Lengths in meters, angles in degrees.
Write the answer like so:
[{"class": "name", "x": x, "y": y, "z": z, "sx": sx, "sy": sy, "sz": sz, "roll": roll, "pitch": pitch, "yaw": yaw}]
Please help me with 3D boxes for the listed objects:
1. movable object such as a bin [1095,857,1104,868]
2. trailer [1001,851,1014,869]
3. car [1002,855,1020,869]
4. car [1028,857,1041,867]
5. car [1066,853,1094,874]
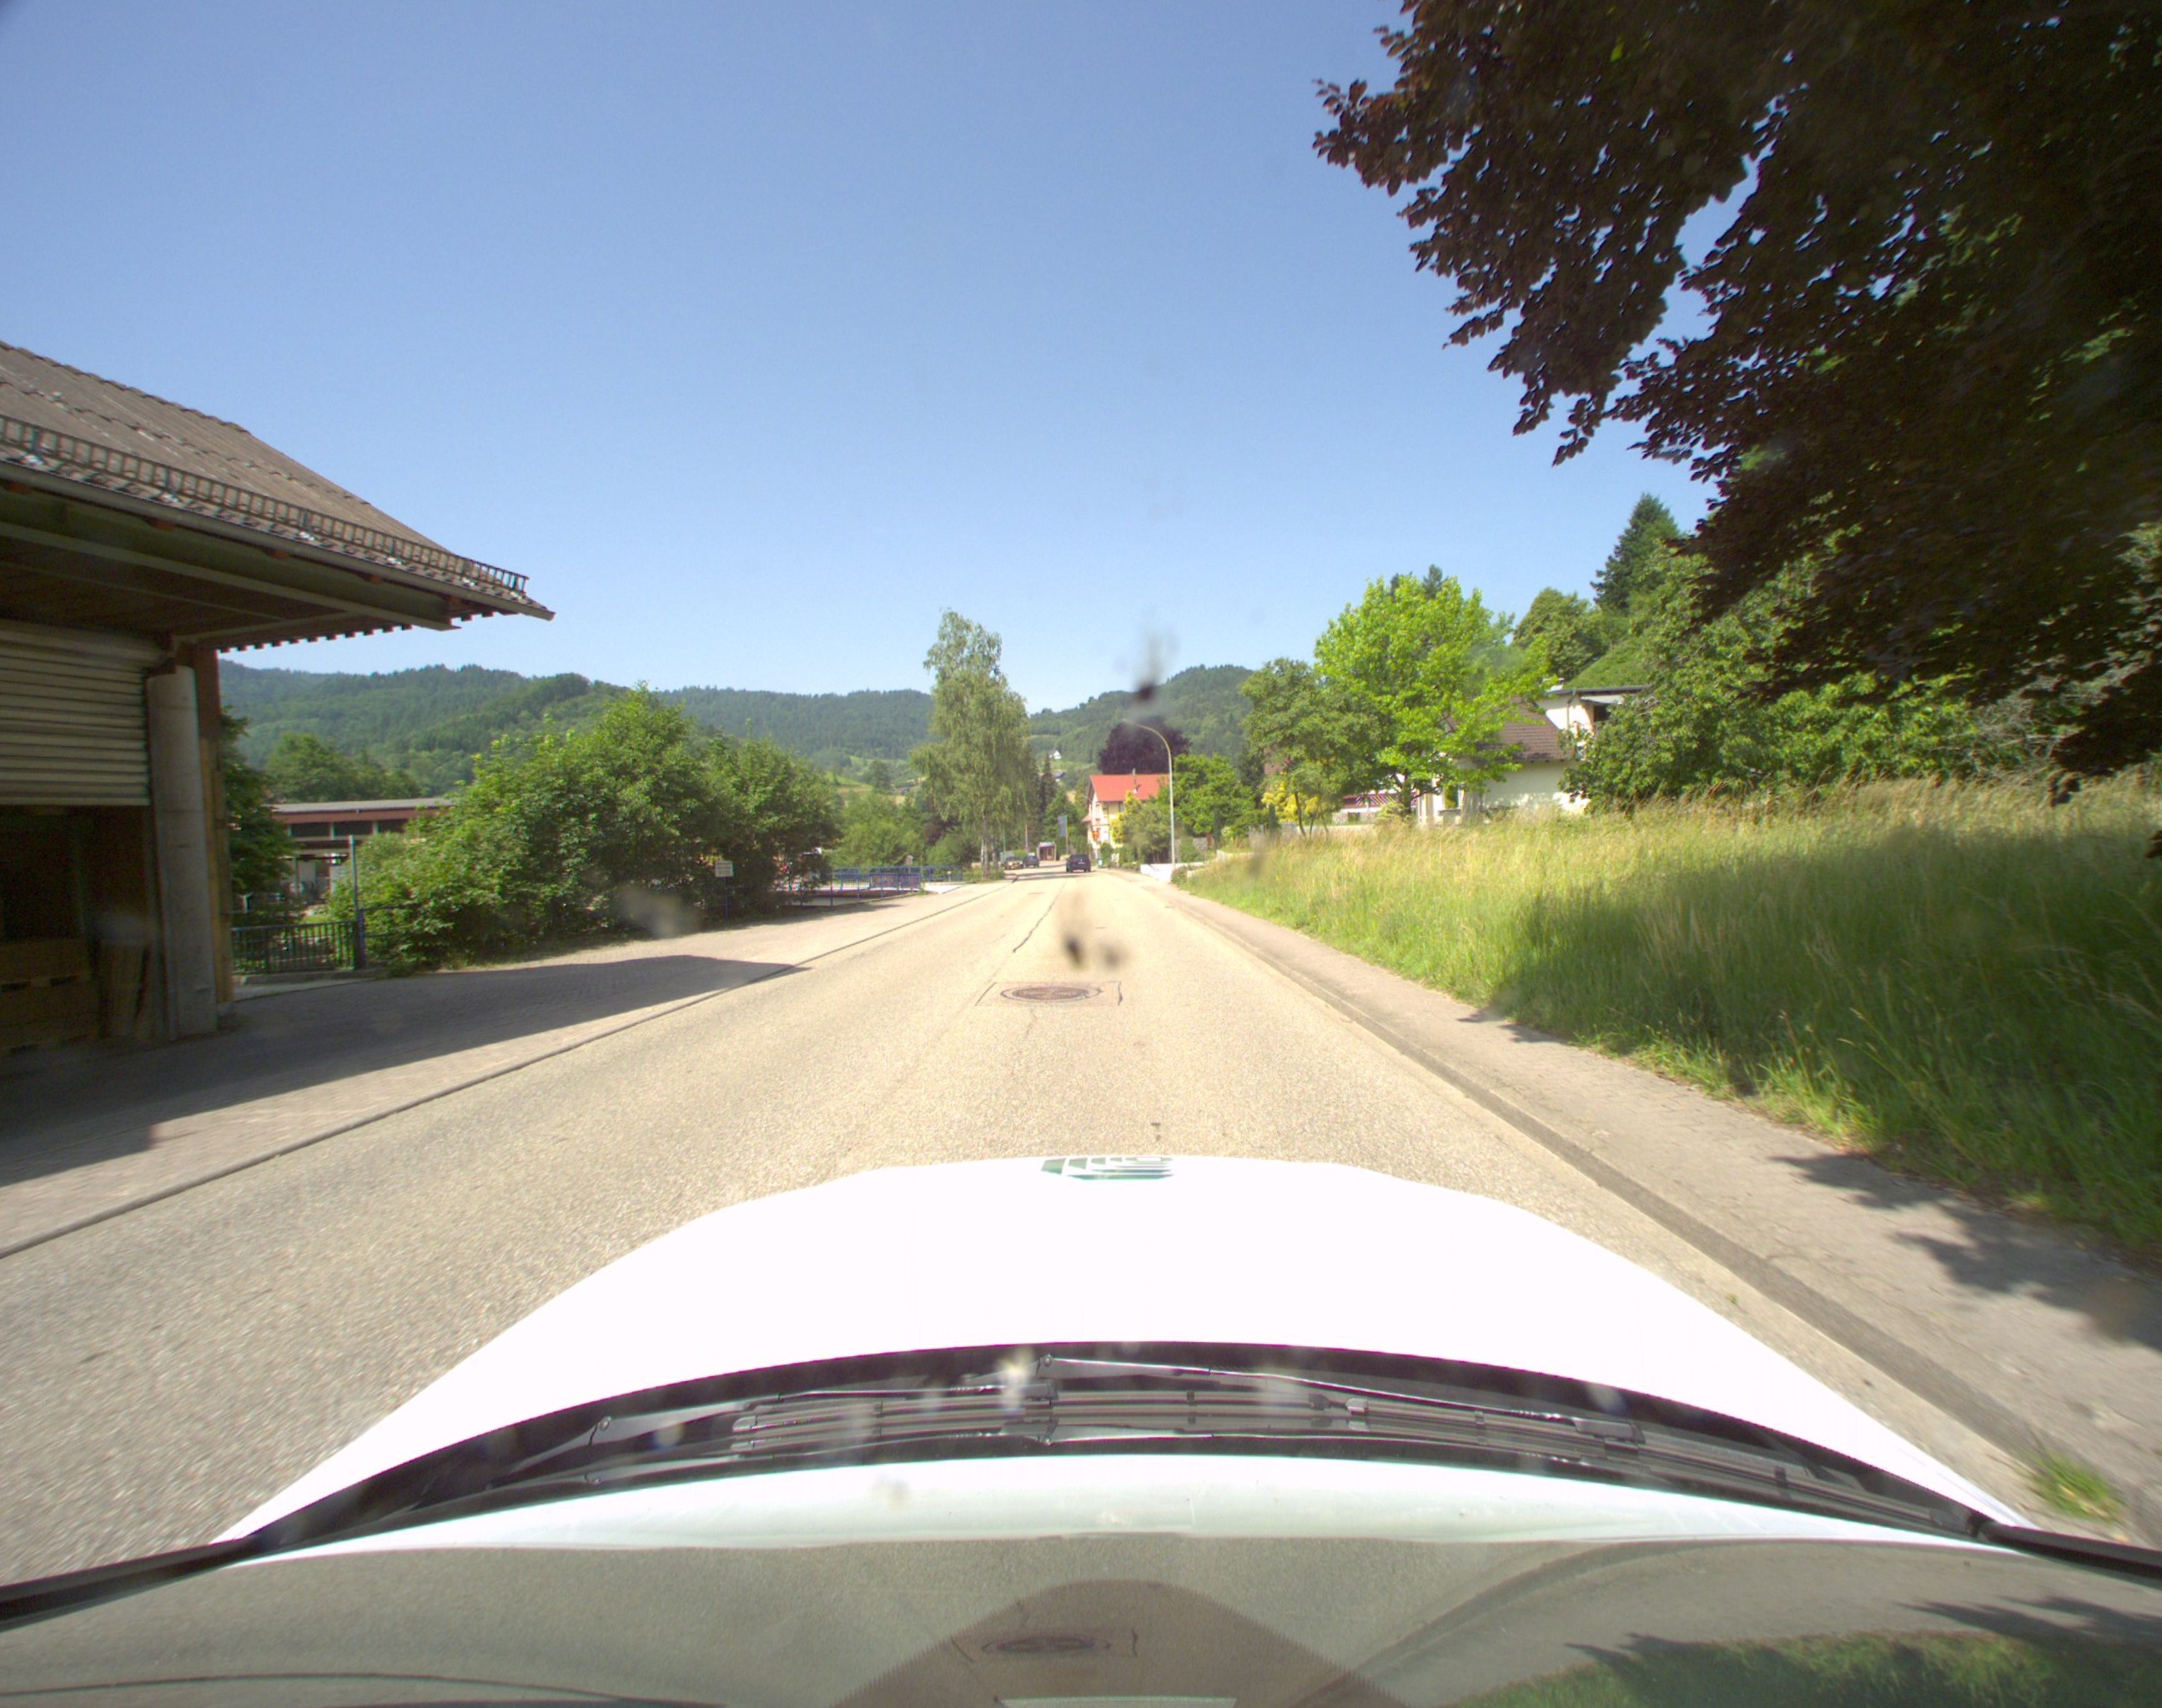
[{"class": "movable object such as a bin", "x": 1.783, "y": 0.838, "z": 79.264, "sx": 0.808, "sy": 1.042, "sz": 0.577, "roll": -3, "pitch": 0, "yaw": -8}, {"class": "trailer", "x": -9.004, "y": 0.726, "z": 99.901, "sx": 1.465, "sy": 2.077, "sz": 3.662, "roll": -3, "pitch": 0, "yaw": -6}, {"class": "car", "x": -8.267, "y": 0.940, "z": 95.837, "sx": 1.812, "sy": 1.500, "sz": 4.138, "roll": -3, "pitch": 0, "yaw": -8}, {"class": "car", "x": -5.959, "y": 1.024, "z": 104.095, "sx": 1.472, "sy": 1.209, "sz": 2.384, "roll": -3, "pitch": 0, "yaw": 0}, {"class": "car", "x": -0.107, "y": 0.815, "z": 70.829, "sx": 1.919, "sy": 1.698, "sz": 3.777, "roll": -3, "pitch": 0, "yaw": -8}]
